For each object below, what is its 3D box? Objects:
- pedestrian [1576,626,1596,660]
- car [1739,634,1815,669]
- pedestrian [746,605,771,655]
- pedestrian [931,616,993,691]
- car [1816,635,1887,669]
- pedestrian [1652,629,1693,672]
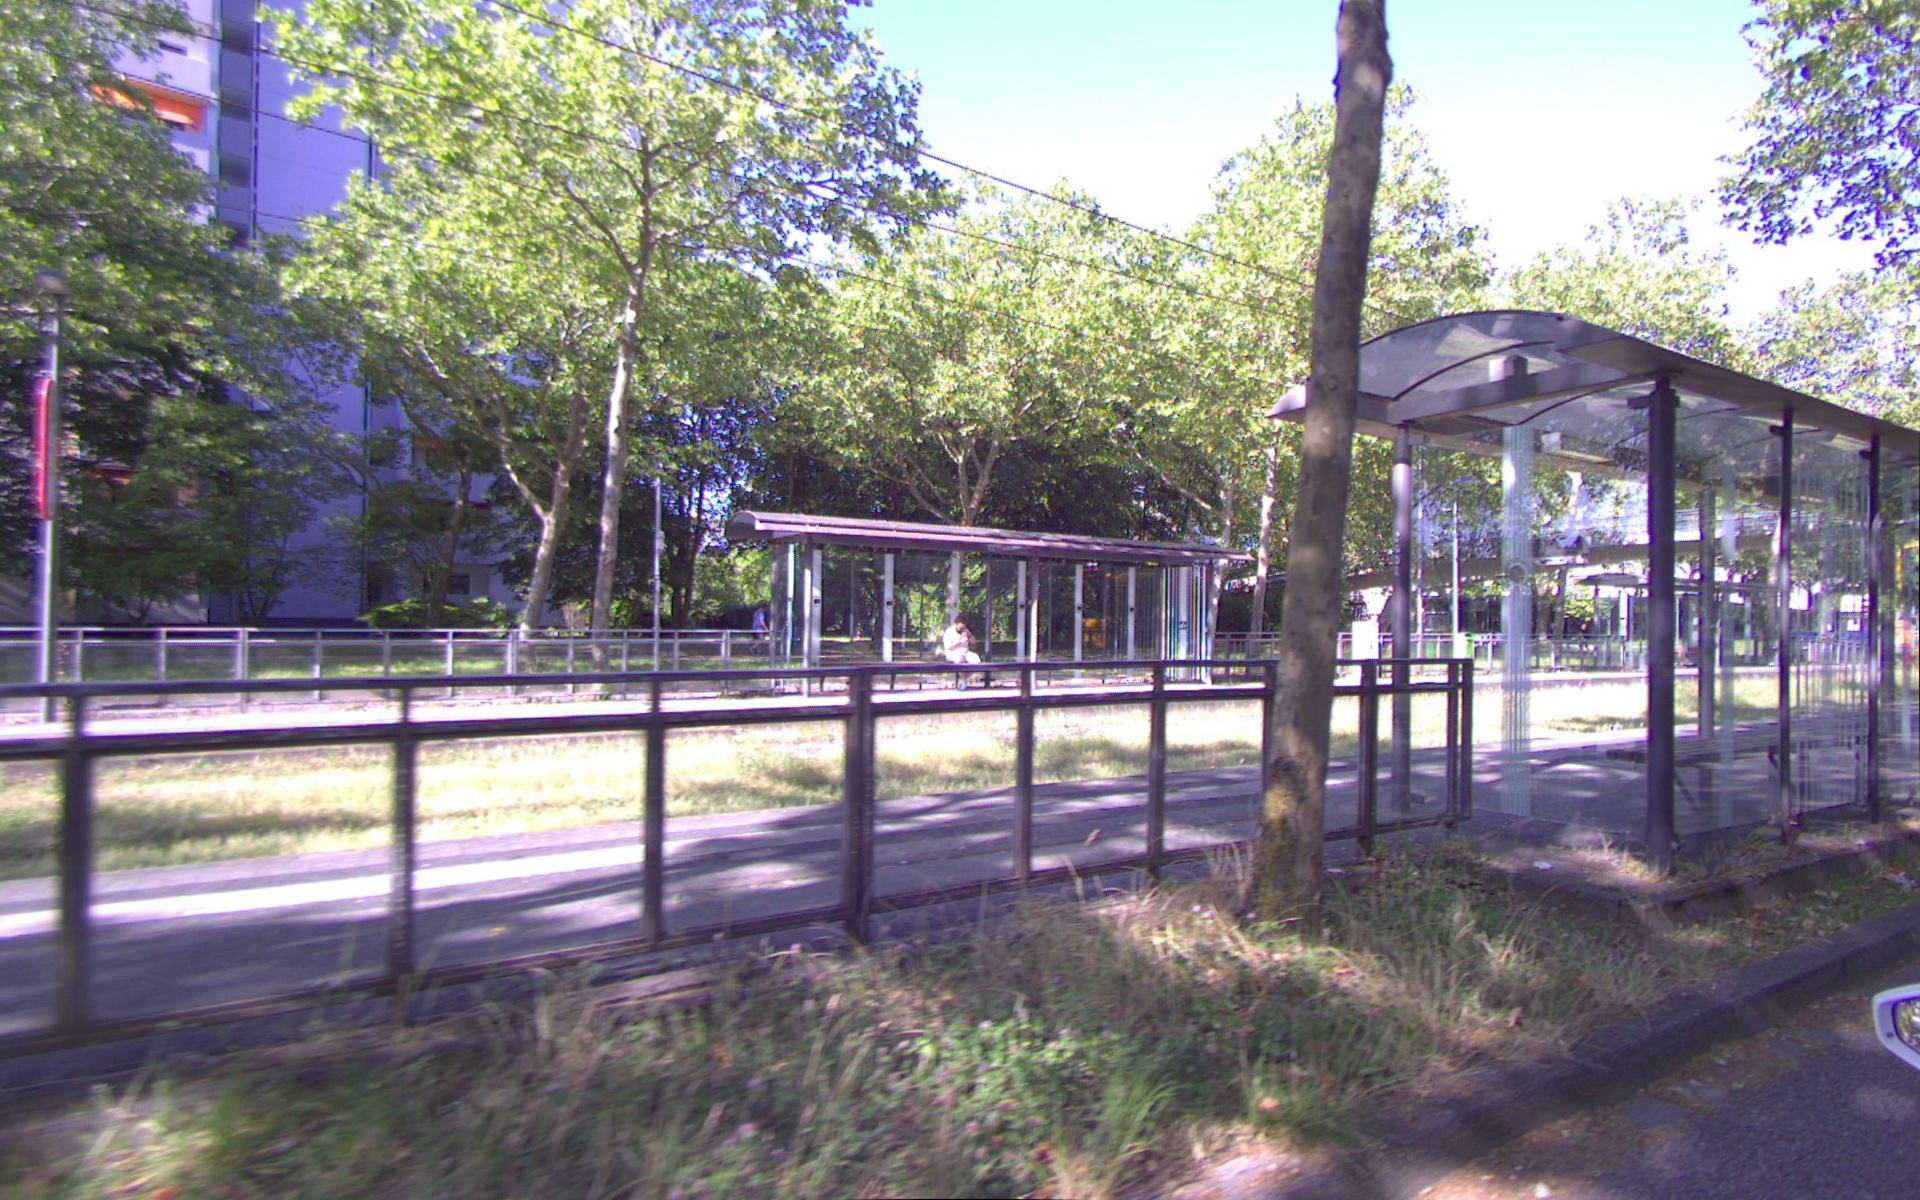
[{"bbox_3d":[32.029,2.196,51.382,0.644,1.683,0.644,1,-1,-35],"label":"pedestrian"},{"bbox_3d":[39.308,2.456,48.290,4.245,1.587,1.782,2,-1,-35],"label":"car"},{"bbox_3d":[-6.785,1.007,33.780,0.642,1.683,0.645,1,-1,-30],"label":"pedestrian"},{"bbox_3d":[0.030,0.884,16.864,0.754,1.199,0.762,1,-1,-31],"label":"pedestrian"},{"bbox_3d":[44.975,2.583,50.767,1.768,1.587,4.281,0,-1,29],"label":"car"},{"bbox_3d":[21.217,1.487,29.917,0.714,1.254,0.773,1,-1,-32],"label":"pedestrian"}]
